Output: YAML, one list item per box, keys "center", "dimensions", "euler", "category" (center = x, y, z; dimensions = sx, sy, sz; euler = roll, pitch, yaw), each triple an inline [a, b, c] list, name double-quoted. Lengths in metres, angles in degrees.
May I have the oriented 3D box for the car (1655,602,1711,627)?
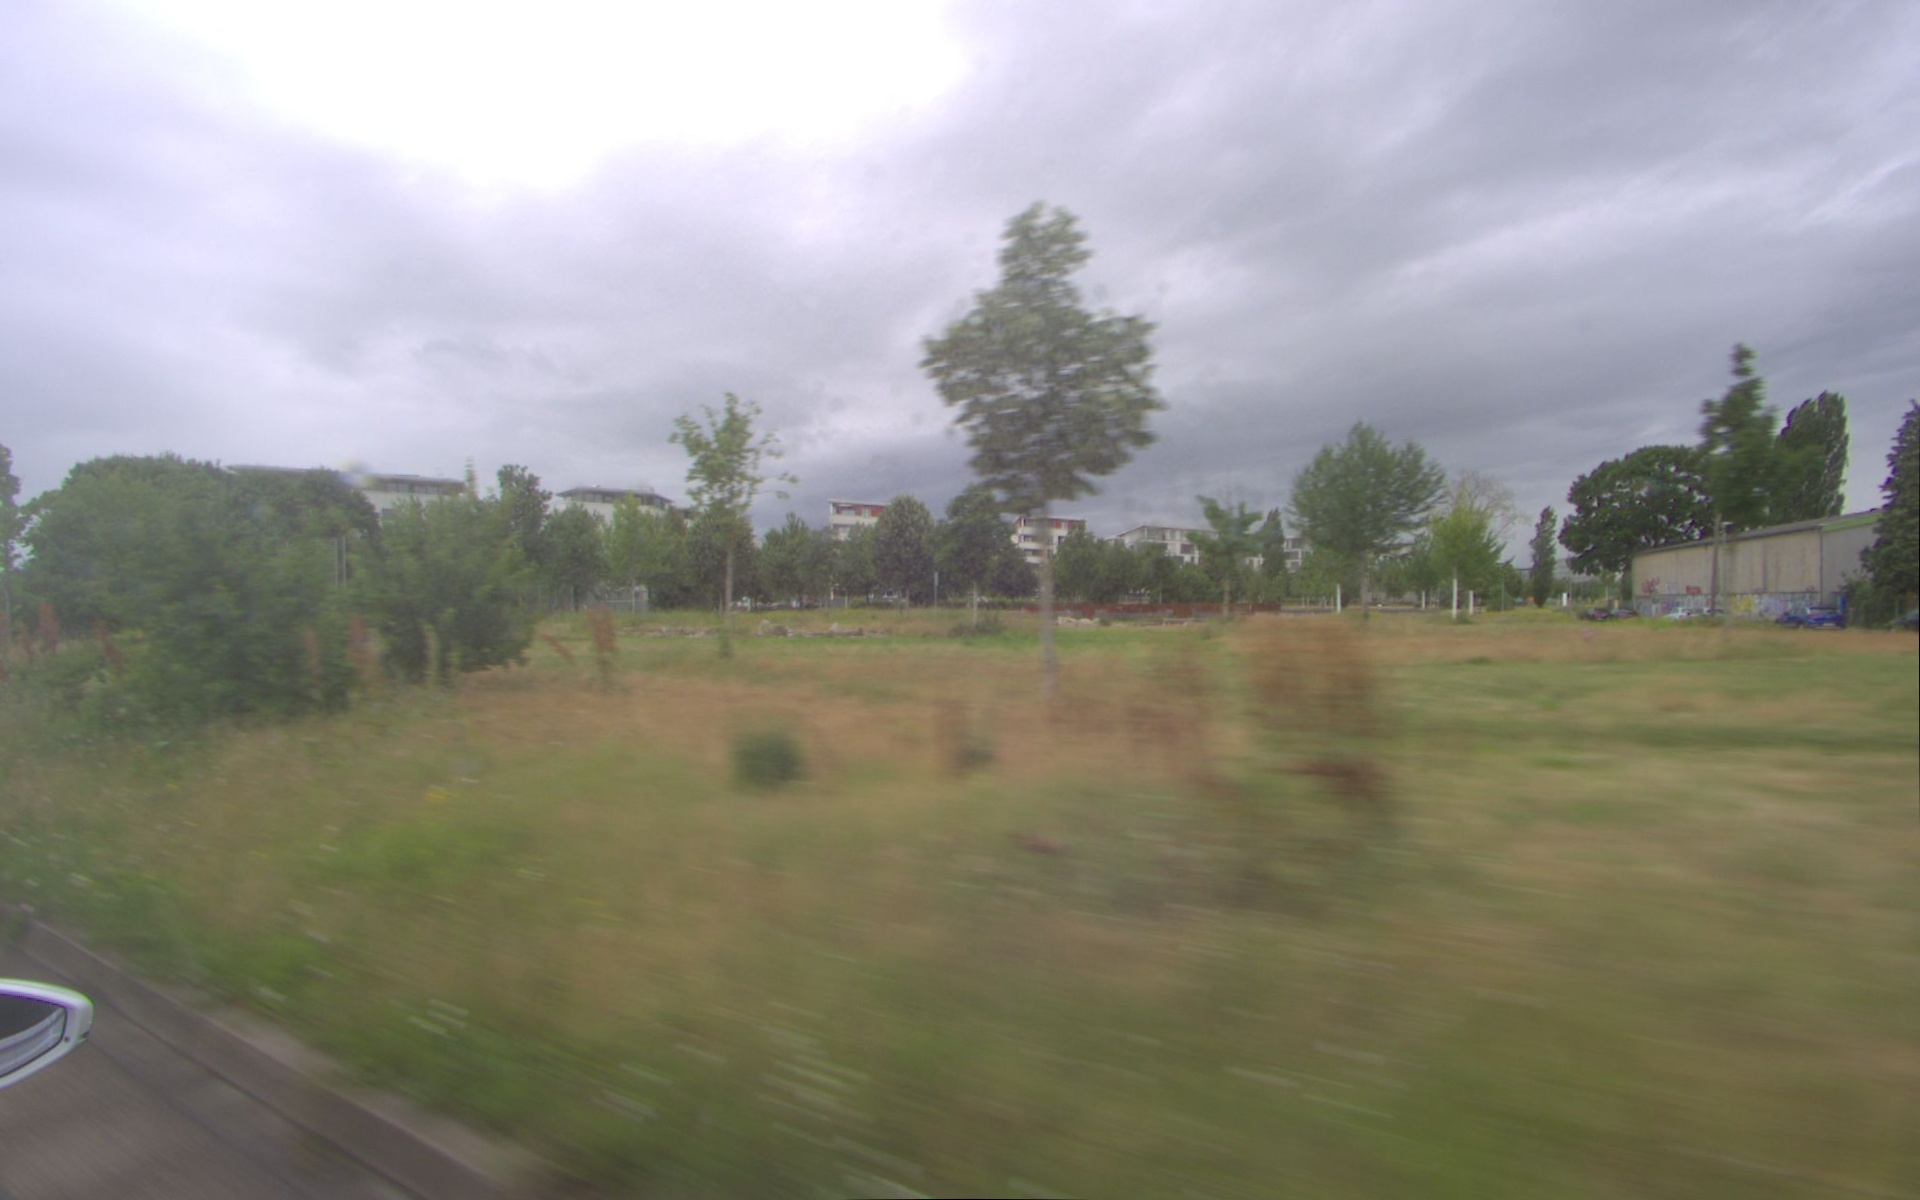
- center: [50.863, 1.021, 70.553]
  dimensions: [1.964, 1.595, 4.370]
  euler: [3, 1, 19]
  category: "car"

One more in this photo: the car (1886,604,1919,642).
- center: [41.180, 1.022, 42.004]
  dimensions: [1.964, 1.595, 3.926]
  euler: [3, 1, 20]
  category: "car"

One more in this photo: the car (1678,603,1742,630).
- center: [48.722, 1.019, 65.122]
  dimensions: [1.964, 1.595, 4.582]
  euler: [3, 1, 19]
  category: "car"

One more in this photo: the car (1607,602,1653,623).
- center: [54.964, 1.021, 82.241]
  dimensions: [1.964, 1.595, 4.518]
  euler: [3, 1, 19]
  category: "car"

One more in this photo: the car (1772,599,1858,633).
- center: [44.829, 0.821, 52.625]
  dimensions: [1.964, 1.595, 4.275]
  euler: [3, 1, 19]
  category: "car"
